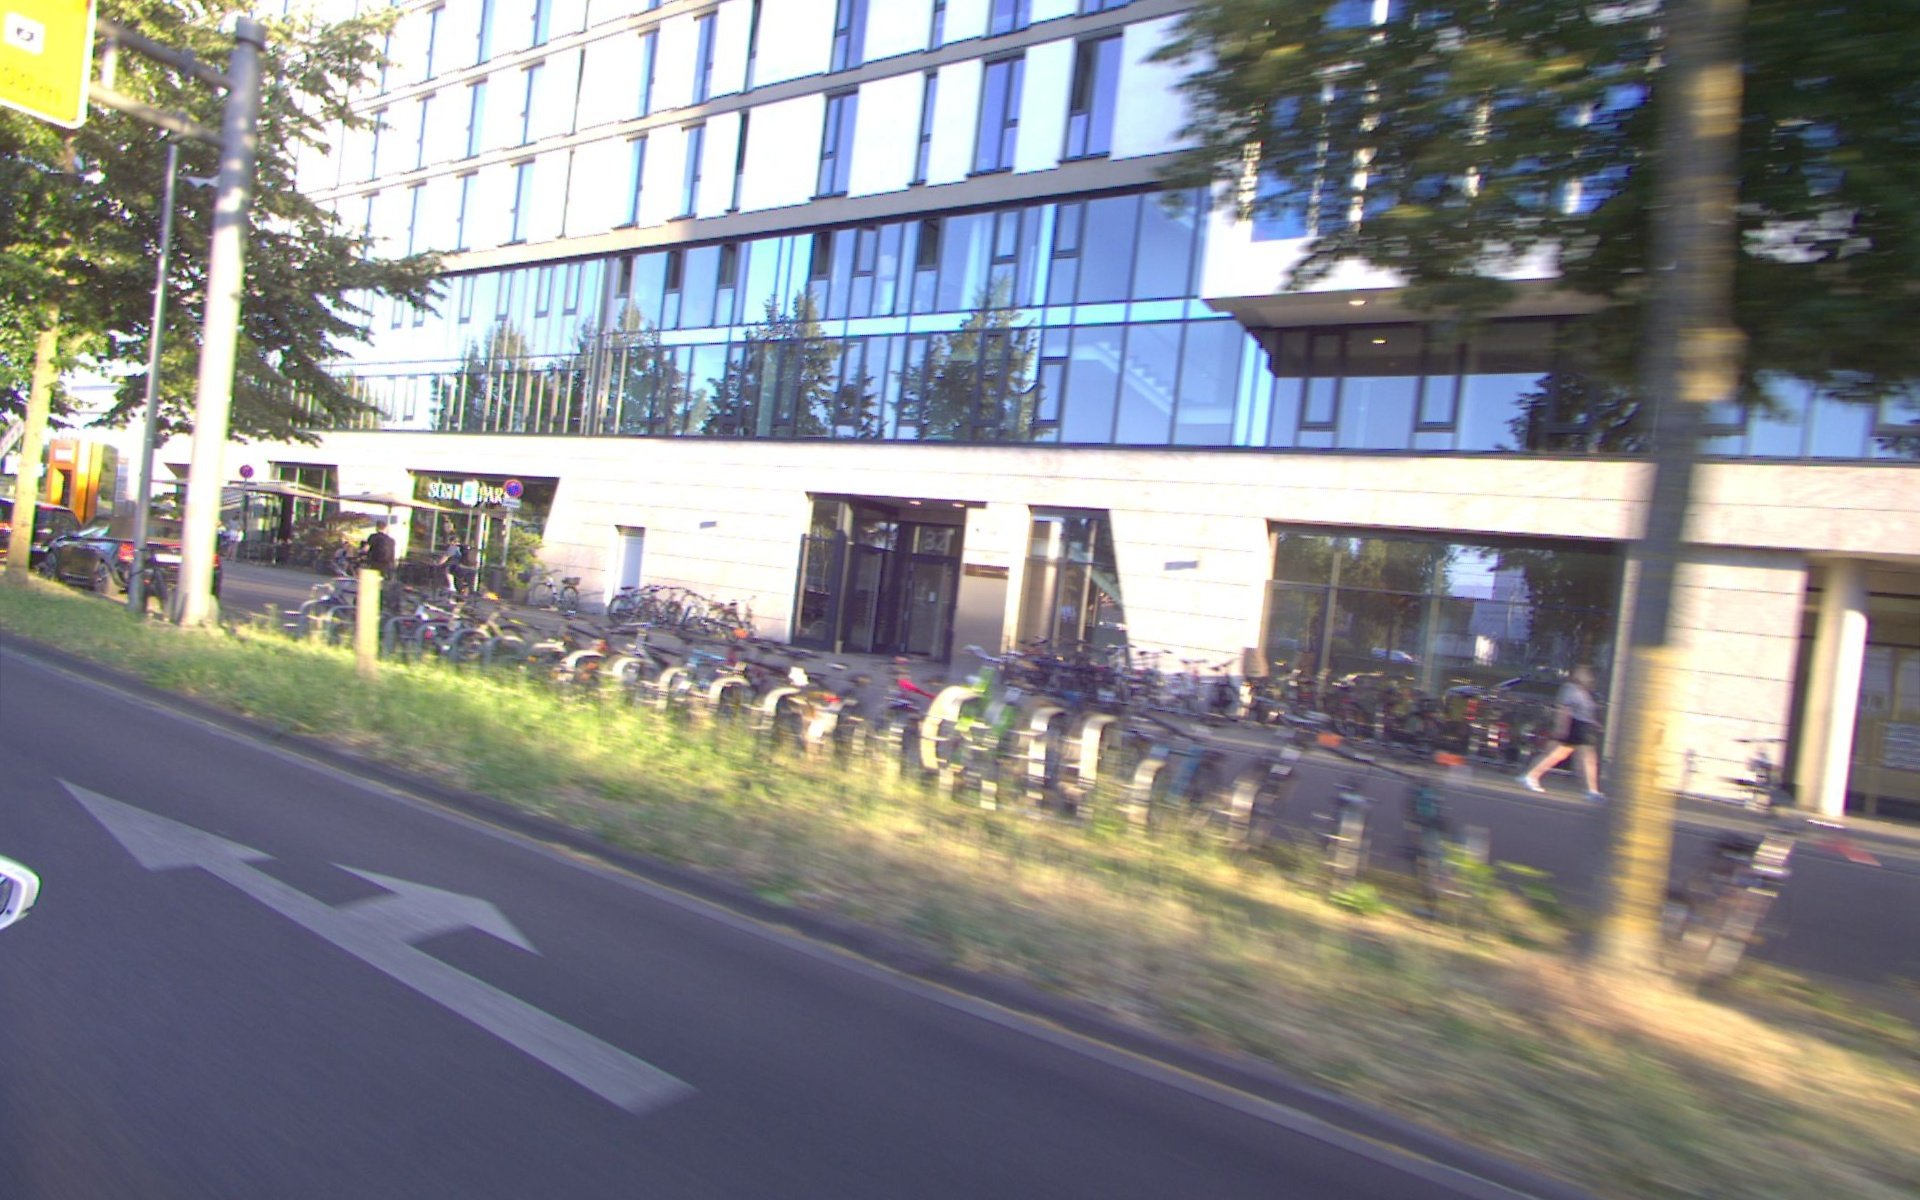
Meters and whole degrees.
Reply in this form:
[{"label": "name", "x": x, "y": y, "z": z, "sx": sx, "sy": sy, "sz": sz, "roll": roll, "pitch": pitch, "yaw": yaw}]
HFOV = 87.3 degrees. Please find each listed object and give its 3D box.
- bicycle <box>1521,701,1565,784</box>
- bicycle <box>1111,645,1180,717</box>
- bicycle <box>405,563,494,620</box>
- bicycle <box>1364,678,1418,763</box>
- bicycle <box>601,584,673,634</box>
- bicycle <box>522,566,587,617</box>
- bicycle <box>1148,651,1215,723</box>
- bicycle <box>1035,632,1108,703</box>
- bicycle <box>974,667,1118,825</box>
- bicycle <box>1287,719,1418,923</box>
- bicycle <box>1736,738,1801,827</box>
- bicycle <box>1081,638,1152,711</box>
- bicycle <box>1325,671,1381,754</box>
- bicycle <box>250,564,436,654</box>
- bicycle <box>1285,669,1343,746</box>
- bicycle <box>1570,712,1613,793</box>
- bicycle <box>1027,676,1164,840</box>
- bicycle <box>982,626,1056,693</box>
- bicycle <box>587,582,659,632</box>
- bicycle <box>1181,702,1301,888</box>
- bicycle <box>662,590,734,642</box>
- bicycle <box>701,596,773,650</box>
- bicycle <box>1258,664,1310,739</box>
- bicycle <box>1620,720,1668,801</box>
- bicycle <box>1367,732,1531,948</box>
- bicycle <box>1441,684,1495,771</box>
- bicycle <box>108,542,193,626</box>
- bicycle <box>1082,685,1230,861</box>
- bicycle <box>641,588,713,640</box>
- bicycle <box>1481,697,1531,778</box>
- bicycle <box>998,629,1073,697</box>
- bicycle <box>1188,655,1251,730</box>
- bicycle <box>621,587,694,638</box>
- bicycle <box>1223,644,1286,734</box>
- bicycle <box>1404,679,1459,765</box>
[{"label": "bicycle", "x": 8.527, "y": 2.047, "z": 14.692, "sx": 0.397, "sy": 1.070, "sz": 1.832, "roll": 7, "pitch": 0, "yaw": 32}, {"label": "bicycle", "x": 3.300, "y": 1.424, "z": 17.746, "sx": 0.494, "sy": 1.155, "sz": 1.986, "roll": 7, "pitch": 0, "yaw": 29}, {"label": "bicycle", "x": -11.894, "y": -0.205, "z": 23.437, "sx": 2.028, "sy": 1.093, "sz": 0.773, "roll": 6, "pitch": 0, "yaw": 30}, {"label": "bicycle", "x": 6.741, "y": 1.836, "z": 15.692, "sx": 0.494, "sy": 1.191, "sz": 1.834, "roll": 7, "pitch": 0, "yaw": 29}, {"label": "bicycle", "x": -8.042, "y": 0.244, "z": 25.121, "sx": 0.500, "sy": 1.118, "sz": 1.788, "roll": 7, "pitch": 0, "yaw": 27}, {"label": "bicycle", "x": -11.320, "y": -0.249, "z": 28.024, "sx": 2.228, "sy": 1.223, "sz": 0.469, "roll": 6, "pitch": 0, "yaw": 36}, {"label": "bicycle", "x": 3.855, "y": 1.491, "z": 17.394, "sx": 0.494, "sy": 1.113, "sz": 1.986, "roll": 7, "pitch": 0, "yaw": 29}, {"label": "bicycle", "x": 2.070, "y": 1.246, "z": 18.387, "sx": 0.494, "sy": 1.182, "sz": 1.986, "roll": 7, "pitch": 0, "yaw": 29}, {"label": "bicycle", "x": 0.747, "y": 1.149, "z": 8.048, "sx": 0.401, "sy": 1.065, "sz": 1.950, "roll": 7, "pitch": -4, "yaw": 24}, {"label": "bicycle", "x": 2.561, "y": 1.376, "z": 6.733, "sx": 0.535, "sy": 1.065, "sz": 1.952, "roll": 8, "pitch": -4, "yaw": 17}, {"label": "bicycle", "x": 10.757, "y": 2.397, "z": 13.413, "sx": 0.397, "sy": 0.999, "sz": 1.577, "roll": 7, "pitch": 0, "yaw": 32}, {"label": "bicycle", "x": 2.834, "y": 1.340, "z": 18.093, "sx": 0.494, "sy": 1.197, "sz": 1.986, "roll": 7, "pitch": 0, "yaw": 29}, {"label": "bicycle", "x": 6.273, "y": 1.755, "z": 16.006, "sx": 0.494, "sy": 1.191, "sz": 1.834, "roll": 7, "pitch": 0, "yaw": 29}, {"label": "bicycle", "x": -8.490, "y": 0.168, "z": 13.972, "sx": 0.536, "sy": 0.949, "sz": 2.151, "roll": 7, "pitch": -4, "yaw": 25}, {"label": "bicycle", "x": 5.794, "y": 1.729, "z": 16.392, "sx": 0.494, "sy": 1.126, "sz": 1.834, "roll": 7, "pitch": 0, "yaw": 29}, {"label": "bicycle", "x": 9.010, "y": 2.143, "z": 14.368, "sx": 0.397, "sy": 0.999, "sz": 1.832, "roll": 7, "pitch": 0, "yaw": 32}, {"label": "bicycle", "x": 1.111, "y": 1.199, "z": 7.820, "sx": 0.401, "sy": 1.065, "sz": 1.950, "roll": 7, "pitch": -4, "yaw": 24}, {"label": "bicycle", "x": 1.149, "y": 1.146, "z": 19.061, "sx": 0.494, "sy": 1.155, "sz": 1.986, "roll": 7, "pitch": 0, "yaw": 29}, {"label": "bicycle", "x": -8.497, "y": 0.187, "z": 25.417, "sx": 0.500, "sy": 1.118, "sz": 1.788, "roll": 7, "pitch": 0, "yaw": 27}, {"label": "bicycle", "x": 2.065, "y": 1.326, "z": 7.212, "sx": 0.535, "sy": 1.065, "sz": 1.951, "roll": 7, "pitch": -4, "yaw": 21}, {"label": "bicycle", "x": -6.252, "y": 0.404, "z": 24.101, "sx": 0.500, "sy": 1.118, "sz": 1.788, "roll": 7, "pitch": 0, "yaw": 27}, {"label": "bicycle", "x": -5.144, "y": 0.541, "z": 23.302, "sx": 0.500, "sy": 1.118, "sz": 1.788, "roll": 7, "pitch": 0, "yaw": 27}, {"label": "bicycle", "x": 5.353, "y": 1.655, "z": 16.579, "sx": 0.366, "sy": 1.138, "sz": 1.834, "roll": 7, "pitch": 0, "yaw": 29}, {"label": "bicycle", "x": 9.574, "y": 2.218, "z": 14.117, "sx": 0.397, "sy": 0.964, "sz": 1.745, "roll": 7, "pitch": 0, "yaw": 32}, {"label": "bicycle", "x": 3.100, "y": 1.451, "z": 6.538, "sx": 0.535, "sy": 1.065, "sz": 1.952, "roll": 8, "pitch": -4, "yaw": 17}, {"label": "bicycle", "x": 7.674, "y": 1.889, "z": 15.163, "sx": 0.438, "sy": 1.191, "sz": 1.832, "roll": 7, "pitch": 0, "yaw": 32}, {"label": "bicycle", "x": -11.339, "y": -0.239, "z": 14.070, "sx": 1.816, "sy": 0.992, "sz": 0.319, "roll": 6, "pitch": 0, "yaw": 33}, {"label": "bicycle", "x": 1.520, "y": 1.245, "z": 7.498, "sx": 0.535, "sy": 1.065, "sz": 1.950, "roll": 7, "pitch": -4, "yaw": 24}, {"label": "bicycle", "x": -6.826, "y": 0.350, "z": 24.328, "sx": 0.500, "sy": 1.118, "sz": 1.788, "roll": 7, "pitch": 0, "yaw": 27}, {"label": "bicycle", "x": 8.111, "y": 1.999, "z": 14.925, "sx": 0.438, "sy": 1.060, "sz": 1.832, "roll": 7, "pitch": 0, "yaw": 32}, {"label": "bicycle", "x": 1.436, "y": 1.177, "z": 18.719, "sx": 0.494, "sy": 1.155, "sz": 1.986, "roll": 7, "pitch": 0, "yaw": 29}, {"label": "bicycle", "x": 4.410, "y": 1.550, "z": 17.013, "sx": 0.494, "sy": 1.135, "sz": 1.834, "roll": 7, "pitch": 0, "yaw": 29}, {"label": "bicycle", "x": -7.394, "y": 0.324, "z": 24.665, "sx": 0.500, "sy": 1.118, "sz": 1.788, "roll": 7, "pitch": 0, "yaw": 27}, {"label": "bicycle", "x": 4.938, "y": 1.478, "z": 16.818, "sx": 0.494, "sy": 1.373, "sz": 1.834, "roll": 7, "pitch": 0, "yaw": 29}, {"label": "bicycle", "x": 7.233, "y": 1.832, "z": 15.394, "sx": 0.438, "sy": 1.191, "sz": 1.832, "roll": 7, "pitch": 0, "yaw": 32}]
